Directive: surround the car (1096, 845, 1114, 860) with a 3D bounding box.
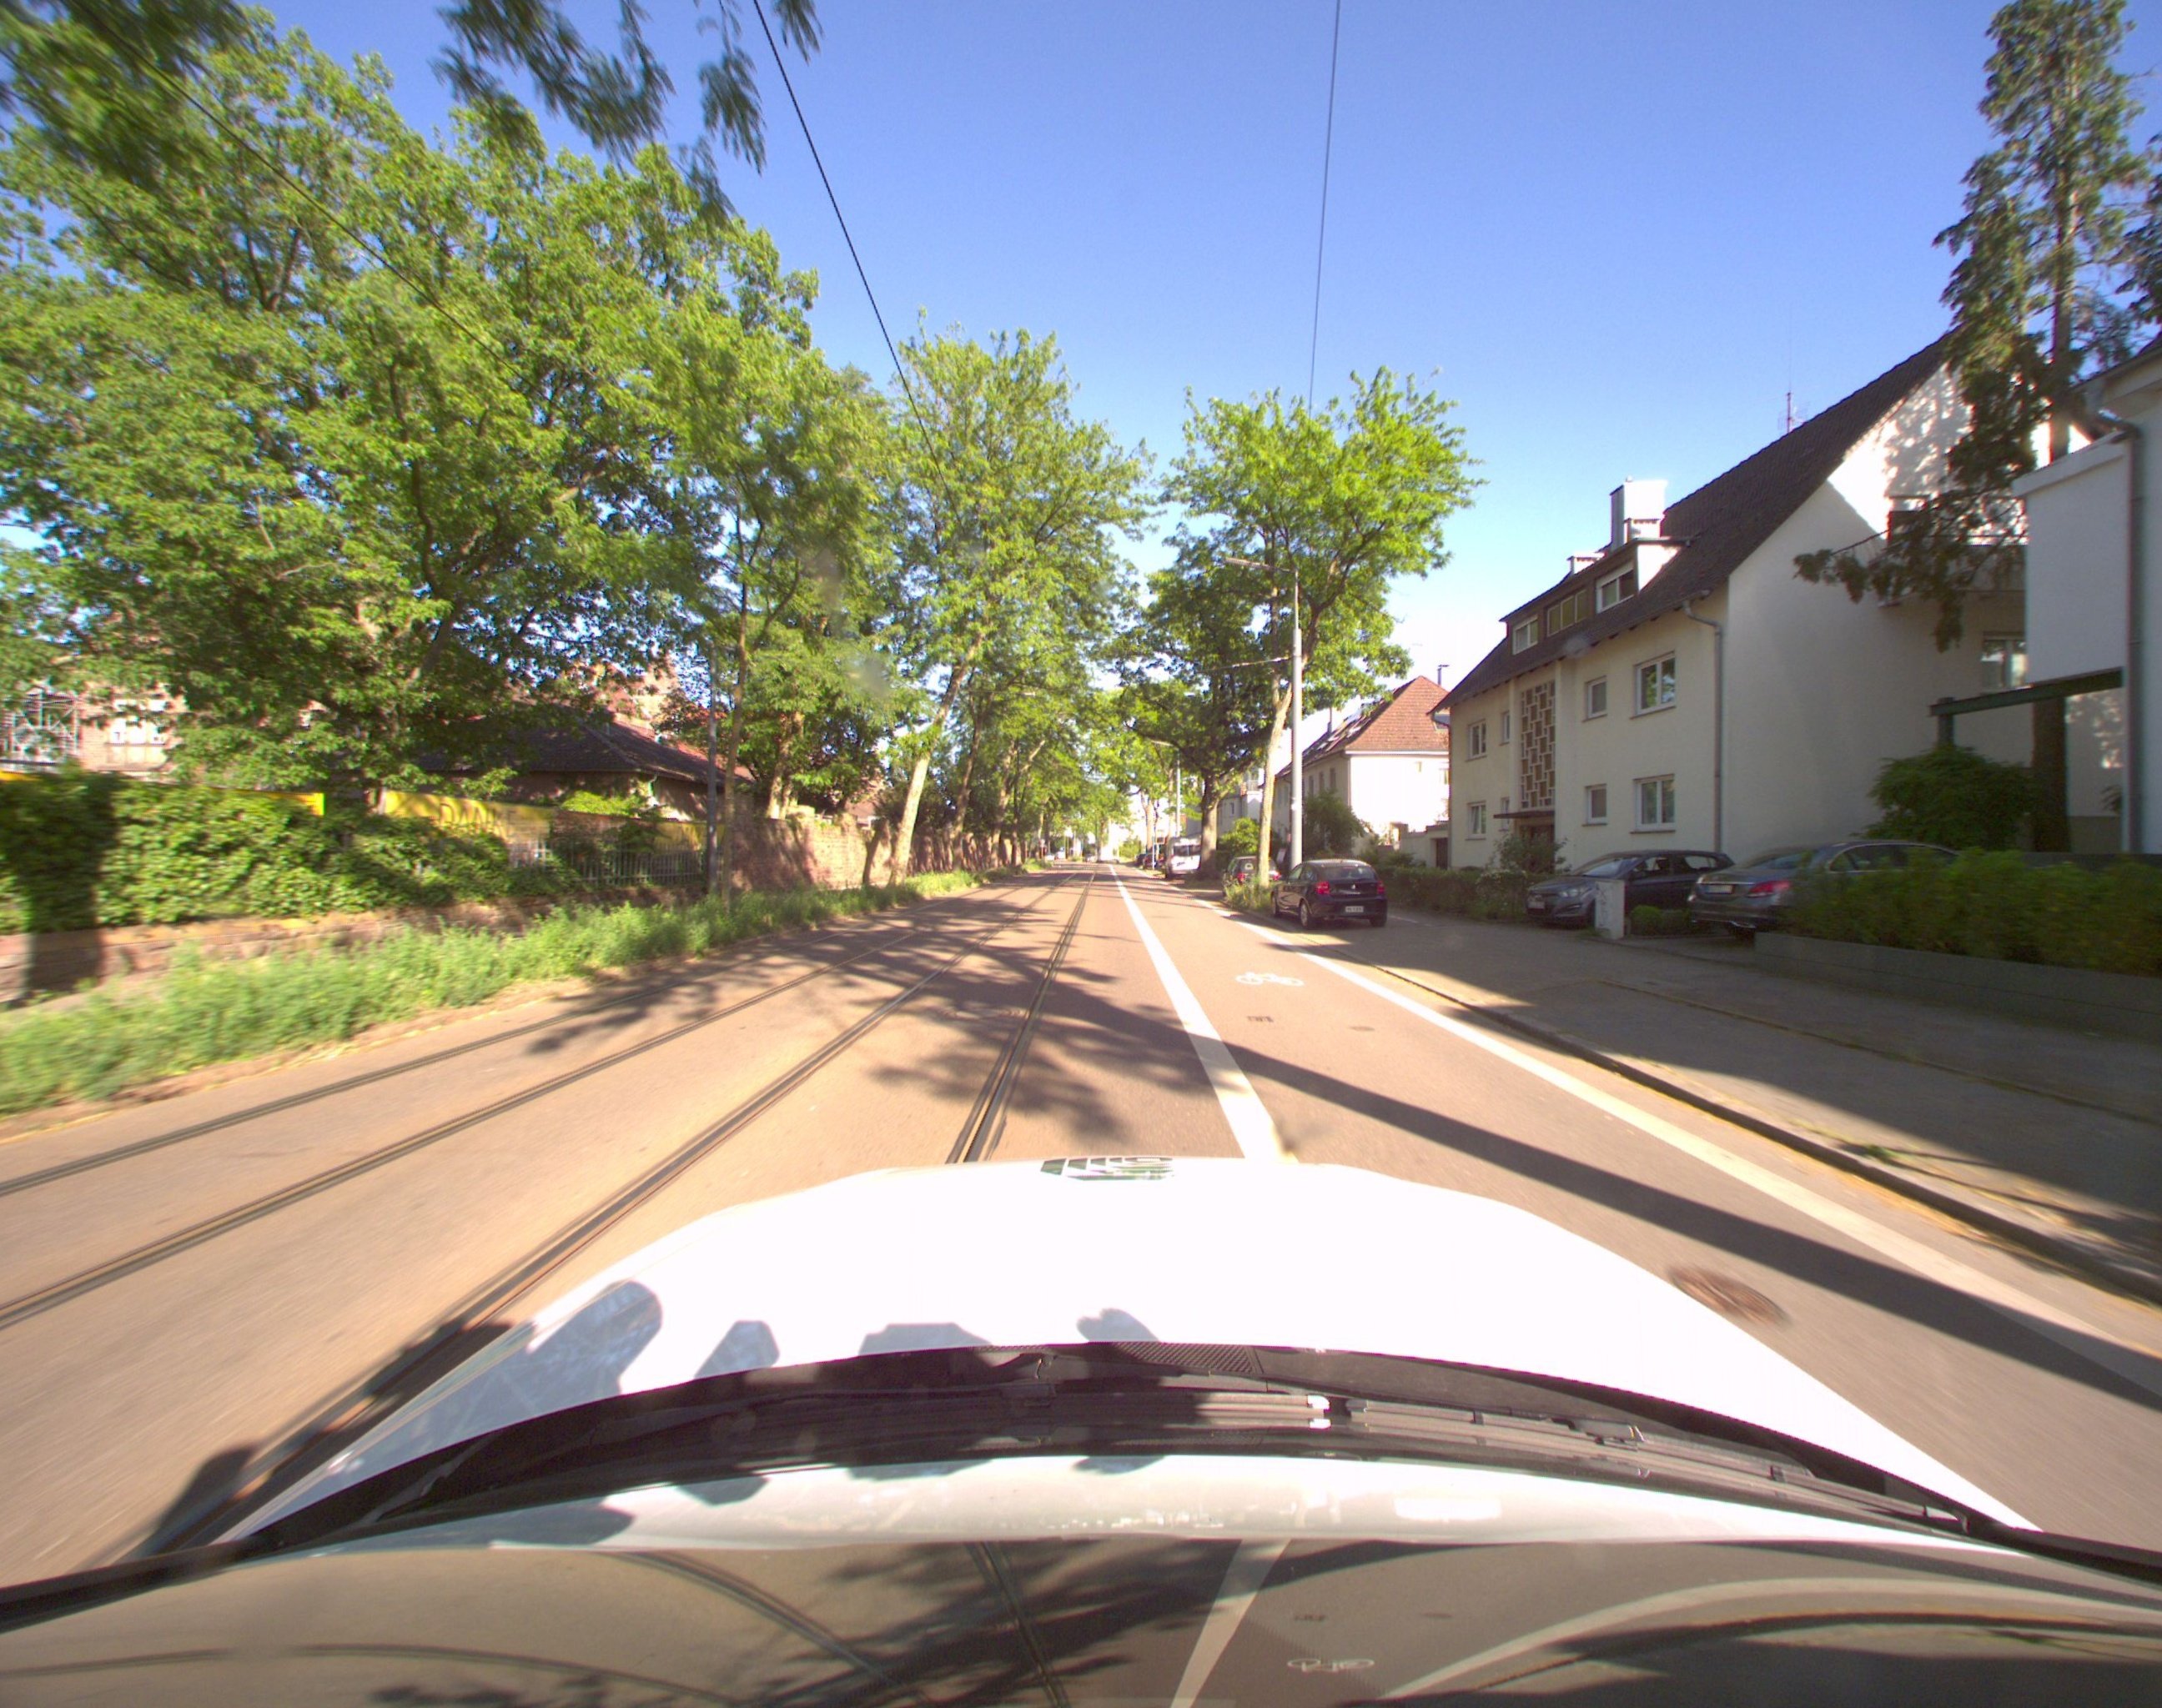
[{"bbox_3d":[3.921,-0.219,135.193,1.994,2.458,4.491,0,0,-11],"label":"car"}]

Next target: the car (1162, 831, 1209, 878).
[{"bbox_3d":[6.271,0.025,49.643,2.237,2.654,5.587,-1,0,1],"label":"car"}]

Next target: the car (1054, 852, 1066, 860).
[{"bbox_3d":[-5.305,0.409,203.112,2.007,1.910,4.368,-2,0,-16],"label":"car"}]

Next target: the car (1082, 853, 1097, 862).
[{"bbox_3d":[1.615,0.635,153.020,2.003,1.560,4.376,0,0,-11],"label":"car"}]

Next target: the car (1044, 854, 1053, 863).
[{"bbox_3d":[-6.889,0.943,173.271,1.862,1.675,4.166,0,0,-4],"label":"car"}]

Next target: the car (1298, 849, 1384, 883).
[{"bbox_3d":[12.002,0.545,37.707,3.399,1.436,1.728,-1,0,-12],"label":"car"}]

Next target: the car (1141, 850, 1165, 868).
[{"bbox_3d":[7.178,0.472,81.624,1.995,1.675,4.393,-2,0,1],"label":"car"}]

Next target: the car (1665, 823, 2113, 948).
[{"bbox_3d":[11.286,0.418,11.671,4.402,1.489,1.860,-2,0,4],"label":"car"}]

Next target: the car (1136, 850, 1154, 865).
[{"bbox_3d":[7.793,0.427,99.017,1.993,1.675,4.399,-2,0,5],"label":"car"}]

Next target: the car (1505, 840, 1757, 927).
[{"bbox_3d":[10.425,0.523,15.609,3.731,1.489,1.737,-1,0,-4],"label":"car"}]

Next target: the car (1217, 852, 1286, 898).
[{"bbox_3d":[5.759,0.670,27.875,1.621,1.397,3.646,-3,0,1],"label":"car"}]

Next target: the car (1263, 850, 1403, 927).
[{"bbox_3d":[5.526,0.687,18.450,1.778,1.448,4.300,-3,0,0],"label":"car"}]
